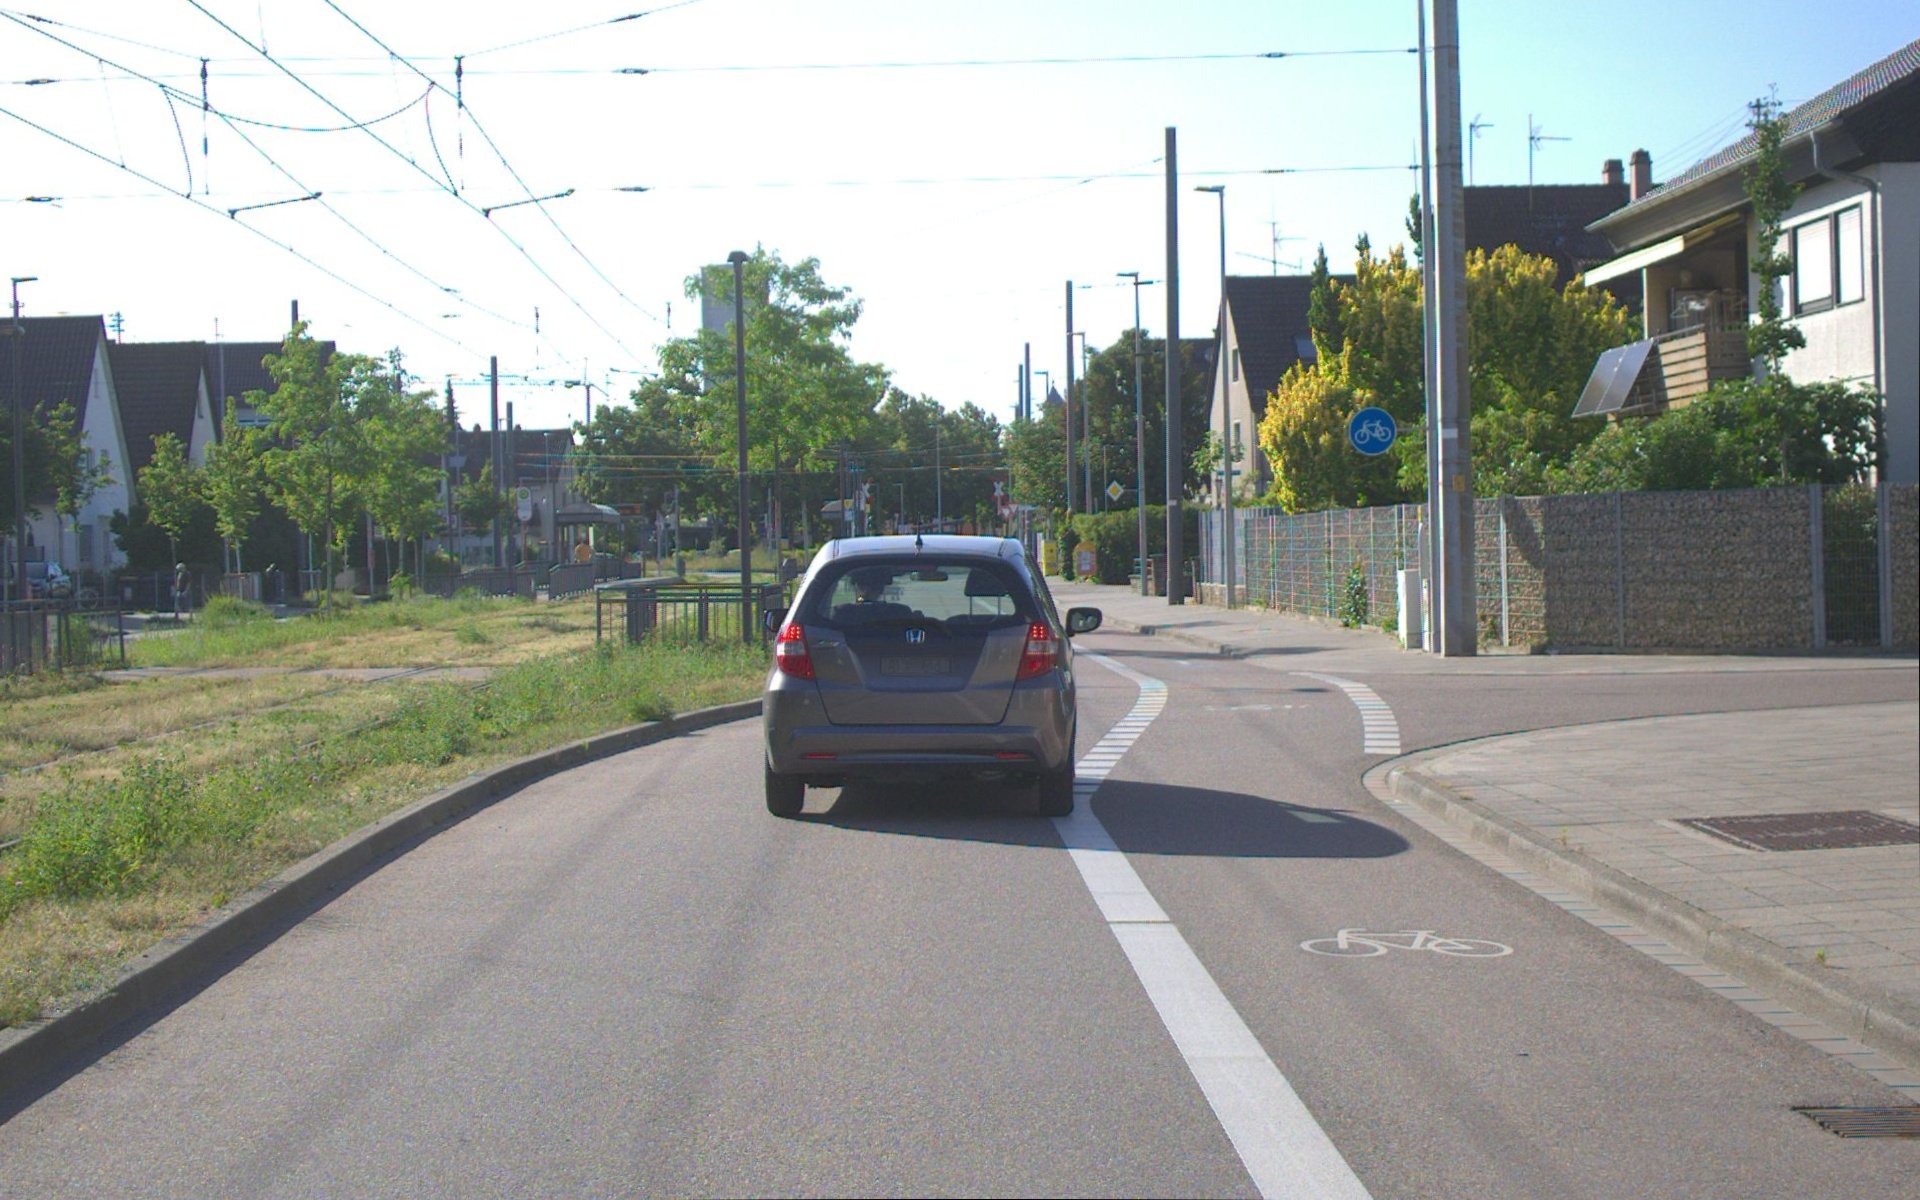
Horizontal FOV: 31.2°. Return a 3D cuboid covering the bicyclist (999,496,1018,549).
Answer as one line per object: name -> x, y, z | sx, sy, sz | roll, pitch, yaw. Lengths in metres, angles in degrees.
bicyclist -> 1.568, -2.516, 111.598 | 0.598, 1.695, 0.683 | 0, 0, -1

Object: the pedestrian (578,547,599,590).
pedestrian -> -13.291, -1.138, 122.959 | 0.675, 1.530, 0.749 | -1, 1, -5

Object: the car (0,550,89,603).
car -> -26.346, -0.681, 97.670 | 1.934, 1.445, 5.163 | -1, 1, -1

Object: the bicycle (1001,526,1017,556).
bicycle -> 1.596, -1.919, 111.786 | 0.475, 0.958, 1.657 | 0, 0, -1

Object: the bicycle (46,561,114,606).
bicycle -> -27.997, -0.528, 109.355 | 1.988, 1.361, 0.705 | -1, 1, -7

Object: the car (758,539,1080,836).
car -> -0.290, 0.424, 19.619 | 1.670, 1.530, 3.487 | 0, 1, -3

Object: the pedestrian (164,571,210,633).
pedestrian -> -20.954, 0.043, 93.201 | 0.965, 1.635, 1.086 | -1, 1, -1

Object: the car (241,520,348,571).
car -> -25.807, -2.111, 133.406 | 3.986, 1.963, 1.933 | 0, 0, -8
